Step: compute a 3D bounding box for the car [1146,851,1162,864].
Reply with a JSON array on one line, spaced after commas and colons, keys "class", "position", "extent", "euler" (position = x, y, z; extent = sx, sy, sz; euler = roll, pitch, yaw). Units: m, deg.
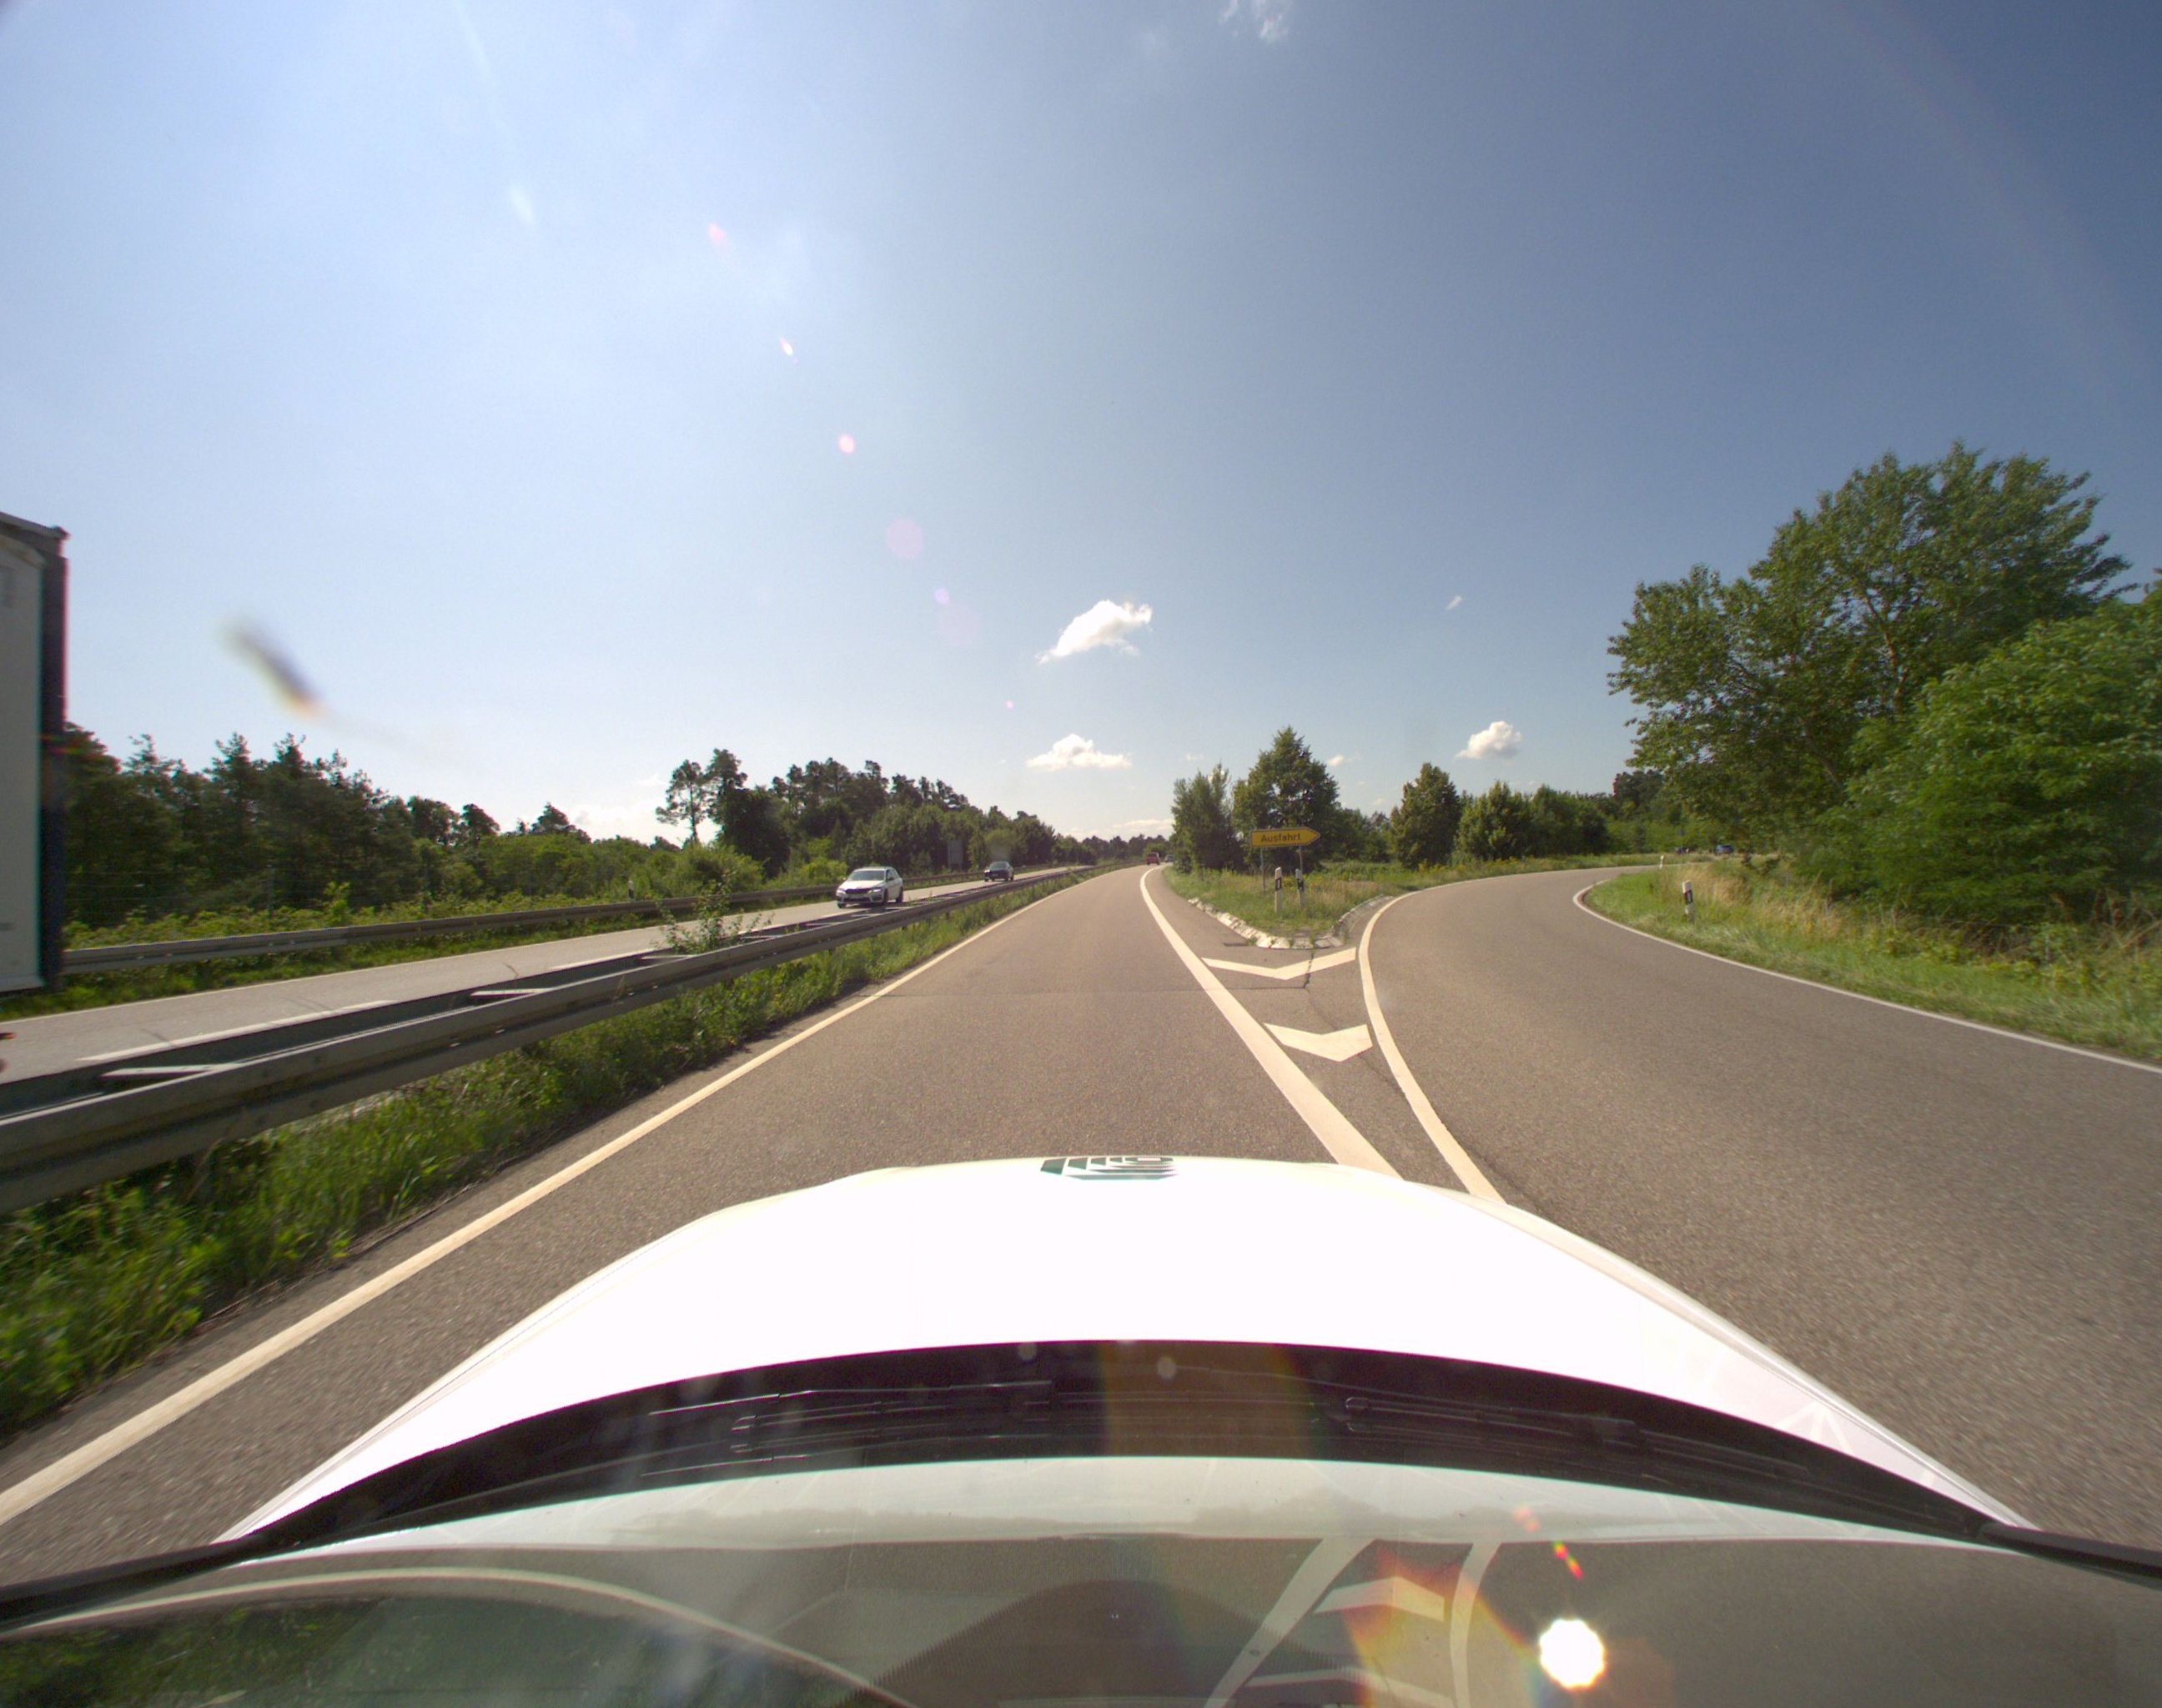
[{"class": "car", "position": [11.877, 0.557, 132.329], "extent": [2.065, 1.993, 5.125], "euler": [-1, -1, 9]}]

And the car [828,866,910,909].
[{"class": "car", "position": [-8.057, 1.241, 31.450], "extent": [1.787, 1.444, 4.608], "euler": [-2, 0, 2]}]

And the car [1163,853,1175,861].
[{"class": "car", "position": [17.044, 0.621, 157.270], "extent": [1.995, 1.494, 4.249], "euler": [-1, -1, 9]}]

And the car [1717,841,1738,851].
[{"class": "car", "position": [92.321, -1.100, 116.351], "extent": [1.483, 1.354, 3.218], "euler": [-2, -1, 23]}]

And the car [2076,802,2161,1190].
[{"class": "car", "position": [5.185, 0.605, 1.382], "extent": [1.882, 1.666, 4.680], "euler": [0, 0, 11]}]

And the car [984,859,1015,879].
[{"class": "car", "position": [-6.447, 1.187, 64.909], "extent": [1.748, 1.501, 4.577], "euler": [-1, 0, 3]}]
